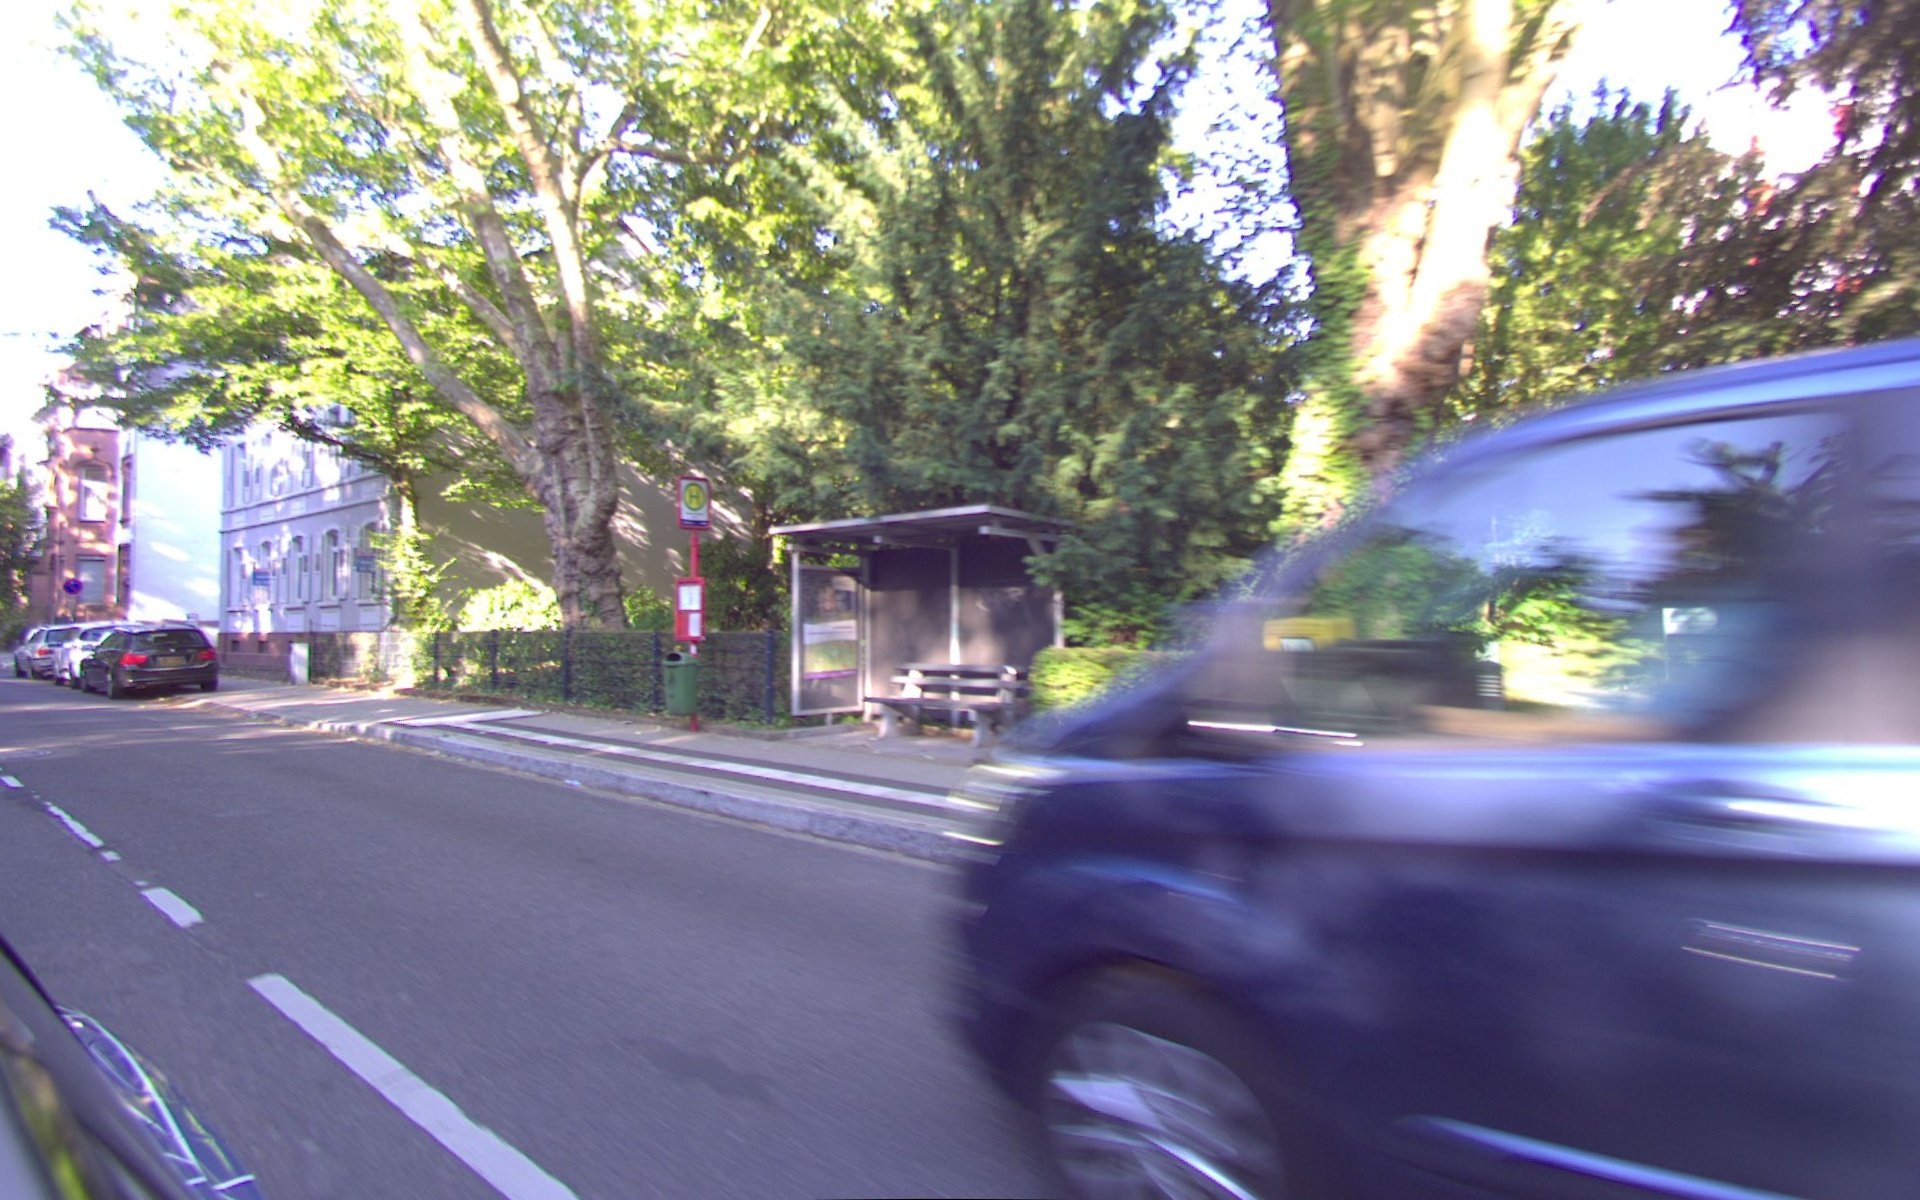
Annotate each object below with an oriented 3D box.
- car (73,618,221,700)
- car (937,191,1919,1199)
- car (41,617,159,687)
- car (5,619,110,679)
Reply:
[{"bbox_3d":[-16.777,1.148,20.842,3.613,1.445,1.668,-1,1,40],"label":"car"},{"bbox_3d":[2.401,0.457,1.740,4.774,1.983,1.973,-1,-4,40],"label":"car"},{"bbox_3d":[-20.585,1.204,24.194,3.319,1.558,1.607,-1,-2,40],"label":"car"},{"bbox_3d":[-24.582,1.279,27.530,3.556,1.445,1.607,-1,1,40],"label":"car"}]
